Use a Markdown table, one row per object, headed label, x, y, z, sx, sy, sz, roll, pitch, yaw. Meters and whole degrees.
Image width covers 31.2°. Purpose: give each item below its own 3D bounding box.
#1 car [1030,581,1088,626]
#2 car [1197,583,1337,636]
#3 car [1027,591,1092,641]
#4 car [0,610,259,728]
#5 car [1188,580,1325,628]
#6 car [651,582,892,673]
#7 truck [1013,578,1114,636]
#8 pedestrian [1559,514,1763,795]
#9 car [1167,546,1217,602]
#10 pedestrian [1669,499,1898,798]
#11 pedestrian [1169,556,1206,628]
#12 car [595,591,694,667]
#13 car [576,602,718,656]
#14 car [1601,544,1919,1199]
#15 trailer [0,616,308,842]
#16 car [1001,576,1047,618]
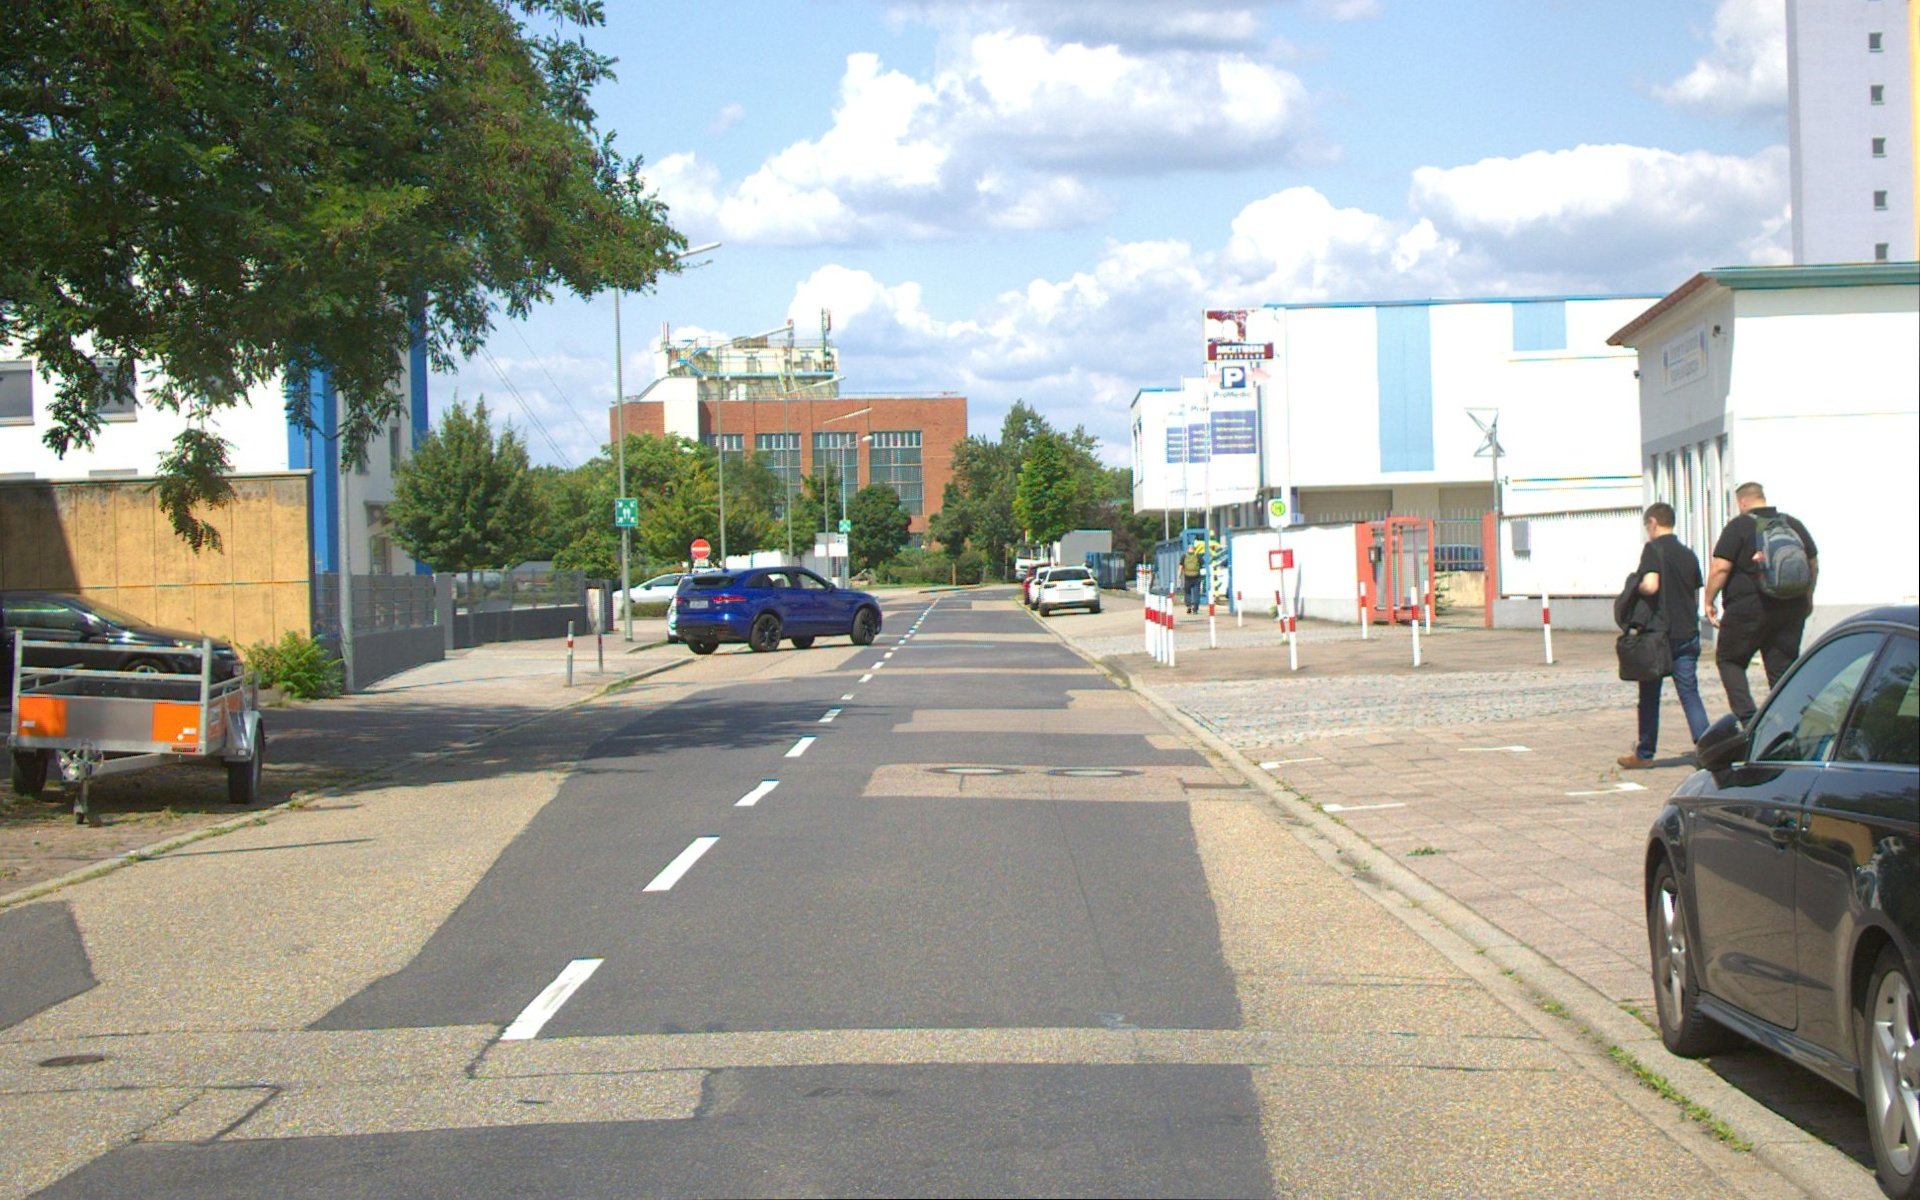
| label | x | y | z | sx | sy | sz | roll | pitch | yaw |
| --- | --- | --- | --- | --- | --- | --- | --- | --- | --- |
| car | 3.419 | 0.118 | 119.480 | 1.835 | 1.515 | 4.461 | -1 | 0 | 0 |
| car | 9.192 | 0.289 | 103.125 | 3.987 | 1.415 | 2.000 | -2 | 0 | 1 |
| car | 3.063 | 0.485 | 106.579 | 1.867 | 1.515 | 4.598 | -1 | 0 | 0 |
| car | -10.498 | 0.799 | 40.650 | 3.993 | 1.357 | 1.794 | 0 | 0 | 4 |
| car | 9.702 | 0.126 | 112.661 | 4.279 | 1.415 | 2.000 | -2 | 0 | 1 |
| car | -3.698 | 0.527 | 68.159 | 1.914 | 1.588 | 4.690 | -2 | 0 | 43 |
| truck | 6.831 | 0.416 | 224.584 | 2.325 | 3.555 | 9.351 | 0 | 2 | 31 |
| pedestrian | 4.672 | 0.356 | 22.959 | 0.856 | 1.801 | 1.006 | -2 | 0 | -22 |
| car | 10.489 | -1.153 | 155.958 | 1.924 | 2.455 | 5.259 | -1 | 0 | 0 |
| pedestrian | 5.591 | 0.319 | 23.384 | 0.989 | 1.945 | 1.091 | -2 | 0 | -22 |
| pedestrian | 5.660 | -0.198 | 85.497 | 0.769 | 1.750 | 0.787 | -3 | 0 | 0 |
| car | -7.313 | 0.658 | 80.011 | 1.867 | 1.702 | 4.753 | -1 | 0 | 0 |
| car | -10.780 | 0.998 | 118.667 | 4.754 | 1.597 | 2.000 | -3 | 0 | -3 |
| car | 2.928 | 0.674 | 9.257 | 1.659 | 1.552 | 4.178 | 1 | 0 | 1 |
| trailer | -6.044 | 0.863 | 24.913 | 1.767 | 1.434 | 4.336 | 1 | 0 | 0 |
| car | 2.583 | -0.122 | 138.265 | 1.755 | 1.645 | 4.677 | -1 | 0 | 2 |
